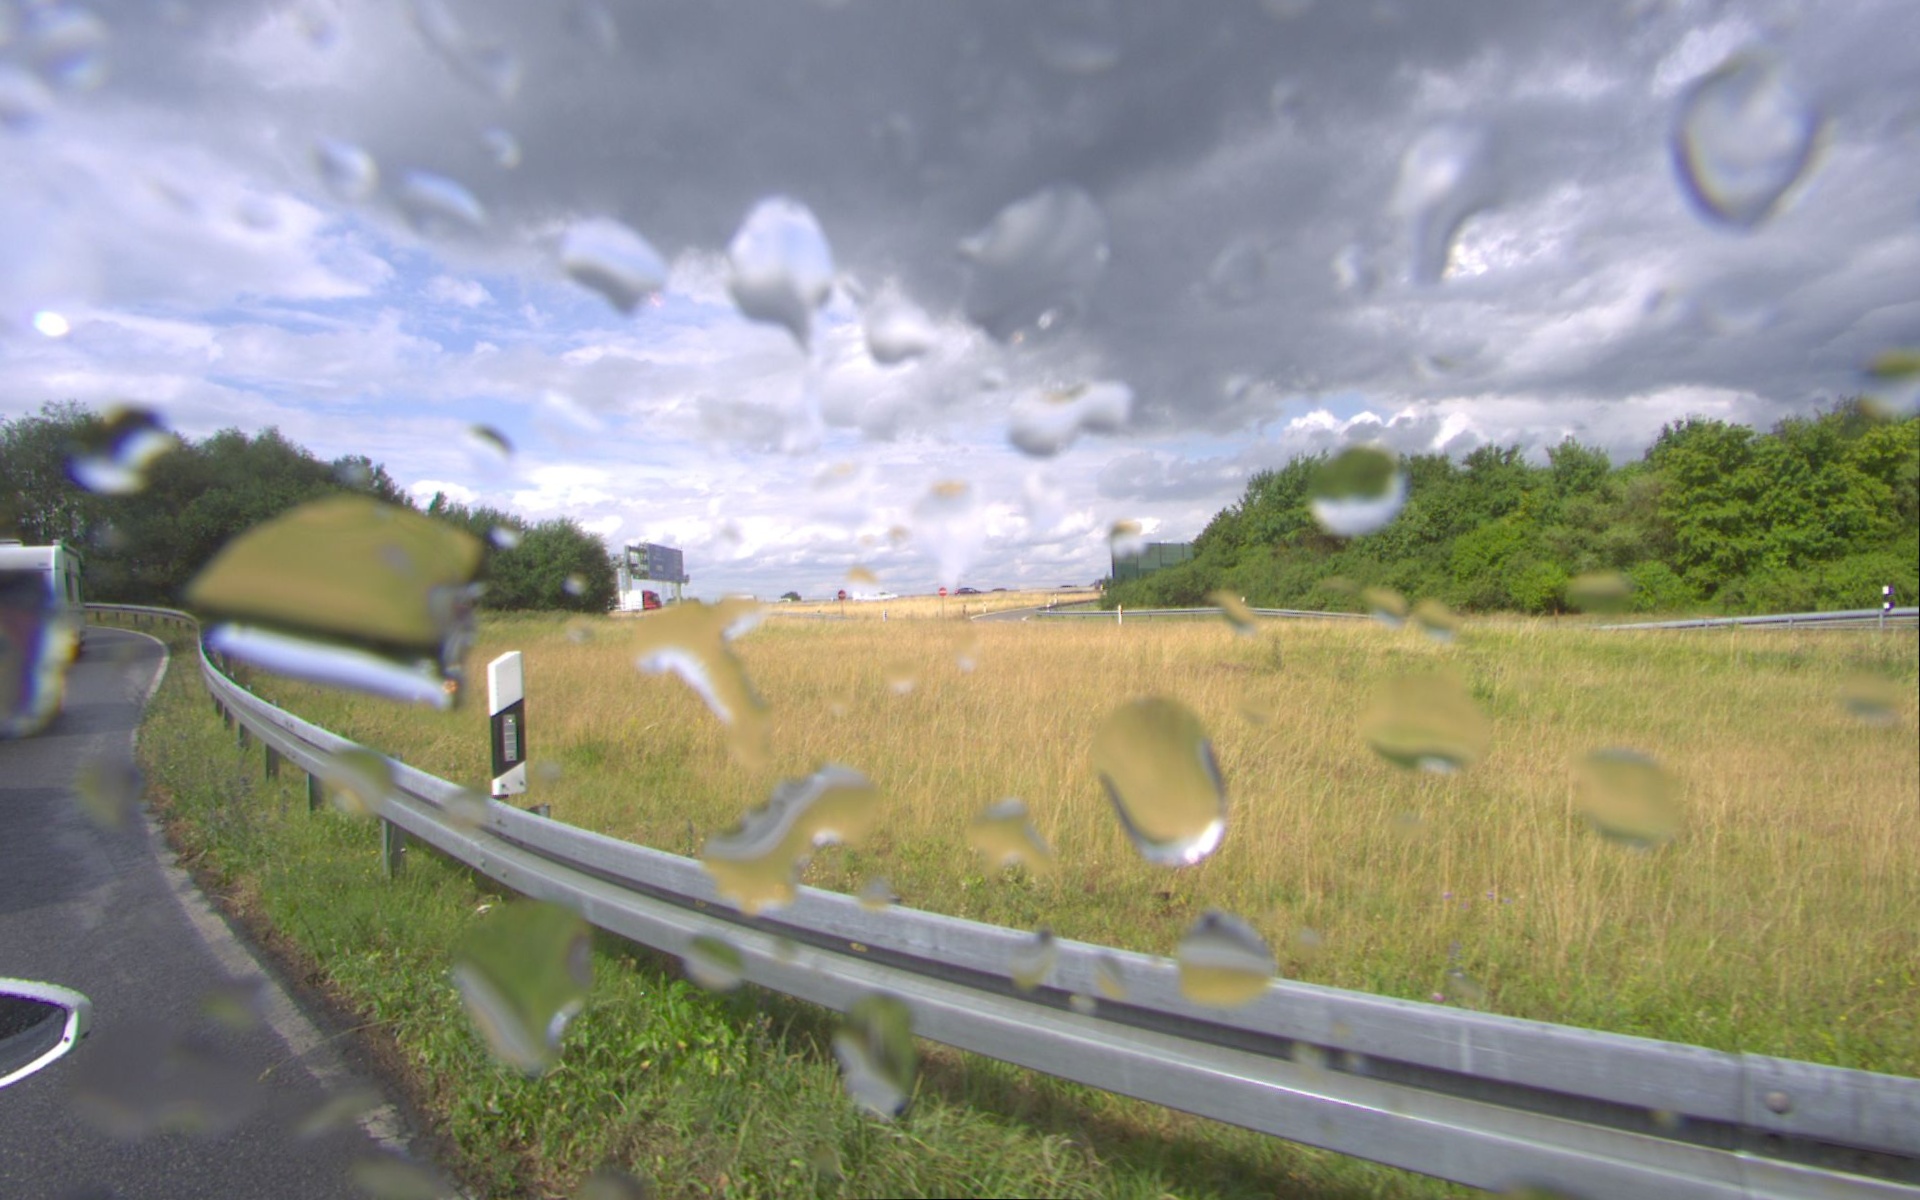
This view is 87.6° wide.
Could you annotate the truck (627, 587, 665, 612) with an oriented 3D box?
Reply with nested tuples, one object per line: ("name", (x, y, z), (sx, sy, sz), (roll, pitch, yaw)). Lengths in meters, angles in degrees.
("truck", (-43.291, -0.006, 138.219), (4.210, 3.175, 3.202), (-3, -1, -2))

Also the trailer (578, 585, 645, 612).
("trailer", (-47.984, -0.220, 138.050), (8.043, 3.251, 3.192), (-3, -1, -2))

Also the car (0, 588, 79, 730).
("car", (-12.087, 0.677, 12.141), (1.702, 1.545, 3.971), (-1, 0, -36))

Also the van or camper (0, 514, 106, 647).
("van or camper", (-21.685, -0.378, 23.286), (2.409, 2.765, 5.955), (0, 0, -37))
